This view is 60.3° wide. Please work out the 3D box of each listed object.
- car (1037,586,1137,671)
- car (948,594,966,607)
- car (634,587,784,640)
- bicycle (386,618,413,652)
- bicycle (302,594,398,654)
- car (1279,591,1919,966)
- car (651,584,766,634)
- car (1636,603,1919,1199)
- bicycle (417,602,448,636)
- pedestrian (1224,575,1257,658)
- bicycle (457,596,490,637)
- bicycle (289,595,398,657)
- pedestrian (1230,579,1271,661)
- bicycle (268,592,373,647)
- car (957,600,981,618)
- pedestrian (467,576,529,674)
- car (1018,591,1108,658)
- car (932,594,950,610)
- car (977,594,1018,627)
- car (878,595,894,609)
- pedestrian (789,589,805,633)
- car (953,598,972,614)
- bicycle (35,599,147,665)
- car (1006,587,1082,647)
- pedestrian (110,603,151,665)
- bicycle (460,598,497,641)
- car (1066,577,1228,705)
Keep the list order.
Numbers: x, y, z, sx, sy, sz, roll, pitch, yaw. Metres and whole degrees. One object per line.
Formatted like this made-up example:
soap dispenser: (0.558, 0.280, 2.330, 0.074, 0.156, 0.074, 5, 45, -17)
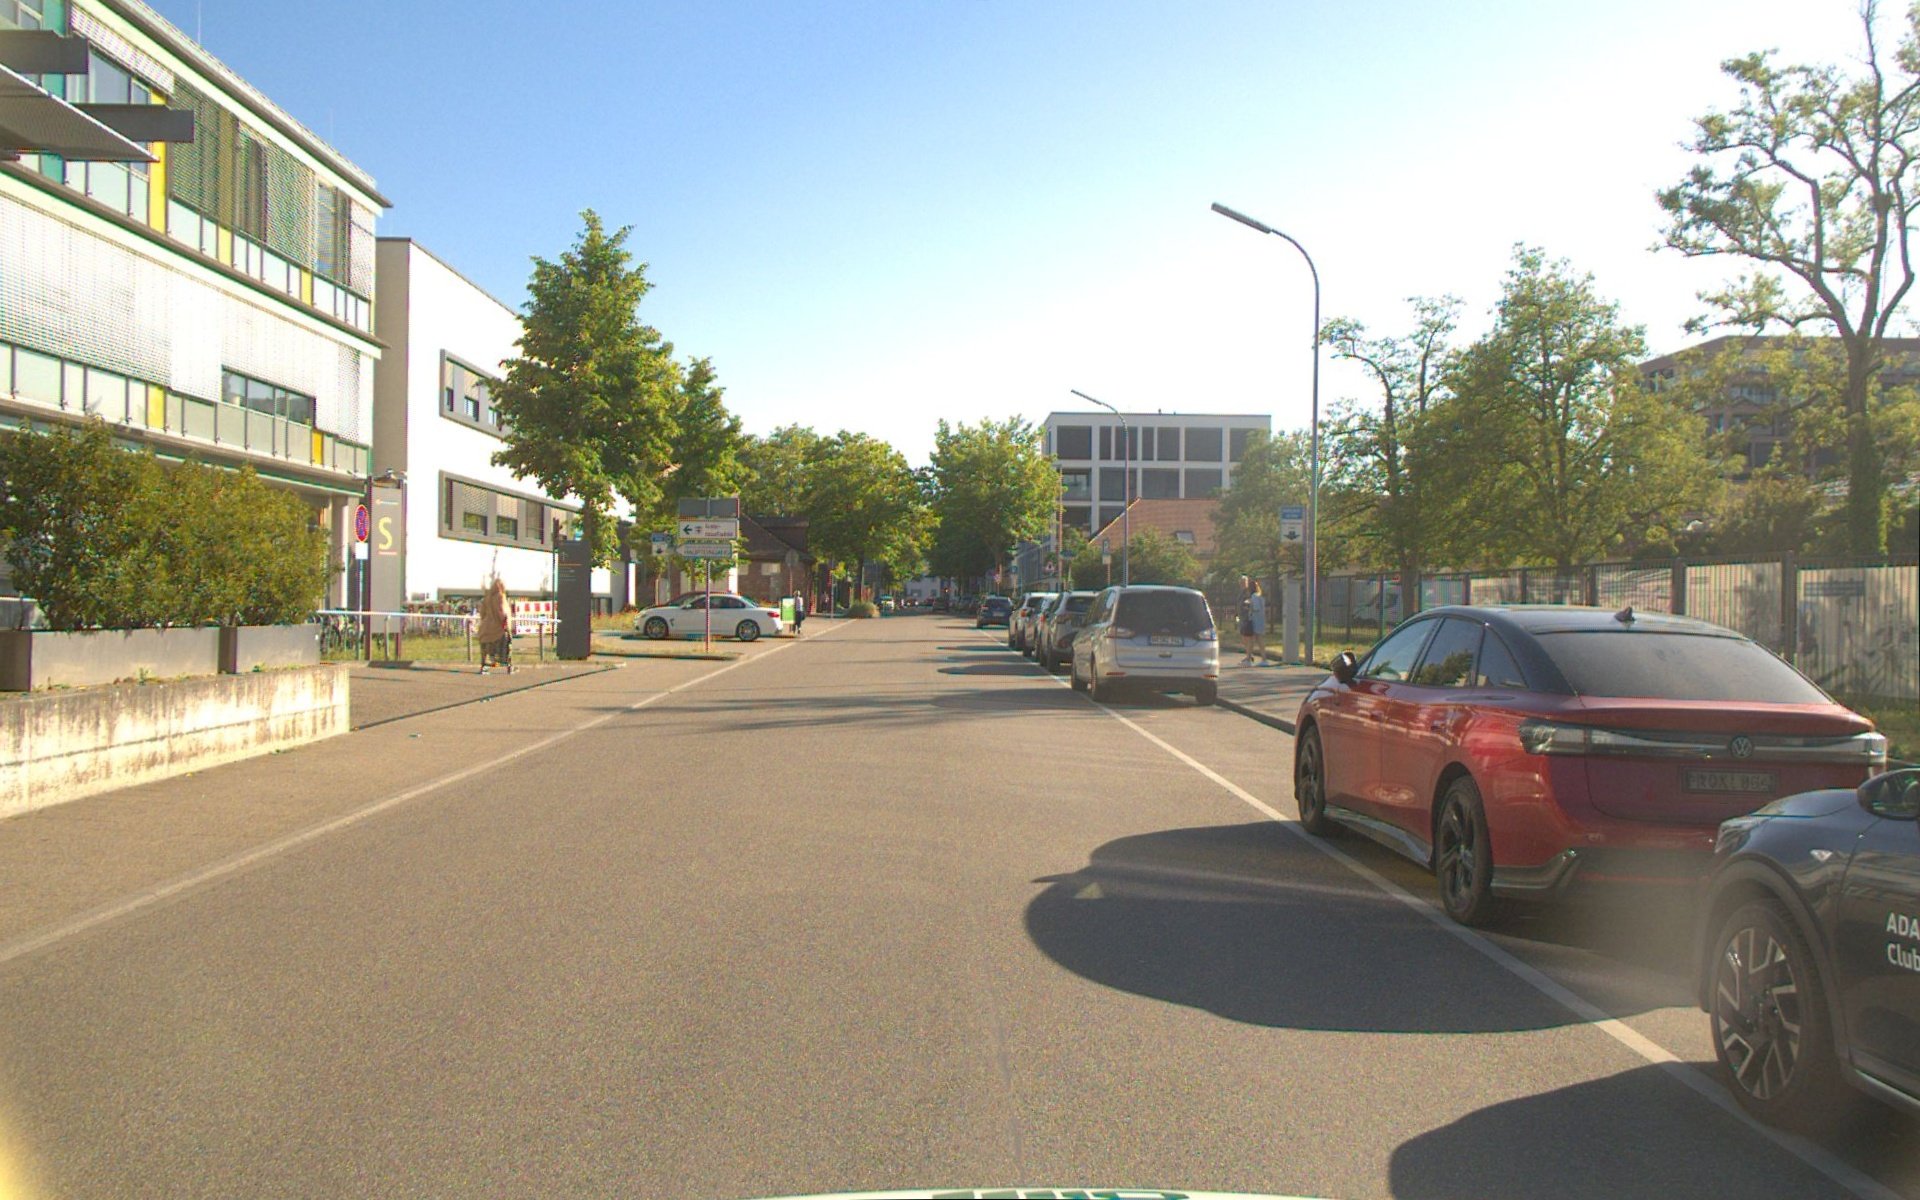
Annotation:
car: (2.621, 0.546, 35.017, 1.666, 1.634, 4.352, 2, 0, -1)
car: (-0.393, 0.059, 182.416, 1.953, 1.491, 3.836, 1, 0, -1)
car: (-7.673, 0.401, 50.819, 4.425, 1.391, 1.697, 3, 0, -7)
bicycle: (-15.196, 0.938, 44.837, 0.249, 0.888, 1.450, 0, 0, 0)
bicycle: (-11.845, 0.456, 32.122, 1.667, 1.141, 0.536, 0, 0, 4)
car: (3.254, 0.749, 9.372, 1.773, 1.536, 4.720, 2, 0, -2)
car: (-8.149, 0.286, 53.770, 3.564, 1.494, 1.612, 2, 1, -6)
car: (3.282, 0.810, 3.673, 1.666, 1.513, 4.213, 2, 0, -2)
bicycle: (-14.090, 0.509, 44.220, 0.361, 0.878, 1.450, 0, 0, 0)
pedestrian: (5.977, 0.359, 35.252, 0.511, 1.738, 0.522, 2, -1, -4)
bicycle: (-13.709, 0.450, 46.622, 0.411, 1.143, 1.763, 0, 0, 0)
bicycle: (-10.712, 0.451, 28.780, 1.681, 1.074, 0.536, 0, 0, -3)
pedestrian: (5.946, 0.405, 33.872, 0.667, 1.640, 0.540, 2, -1, -4)
bicycle: (-11.548, 0.353, 29.896, 1.681, 0.991, 0.536, 0, 0, -3)
car: (0.730, 0.716, 137.217, 1.731, 1.465, 3.998, 0, 0, -3)
pedestrian: (-7.677, 0.412, 27.483, 0.757, 1.576, 0.780, 2, -1, -1)
car: (2.502, 0.557, 40.875, 1.667, 1.513, 3.977, 2, 0, -4)
car: (-1.893, 0.237, 165.121, 1.731, 1.575, 4.064, 0, 0, -3)
car: (1.705, 0.475, 76.373, 1.780, 1.478, 4.214, 0, 0, 0)
car: (-7.917, 0.203, 177.311, 1.731, 1.513, 3.998, 0, 0, -3)
pedestrian: (-5.851, 0.390, 59.382, 0.527, 1.550, 0.607, 0, 0, 0)
car: (0.240, 0.587, 166.293, 1.910, 1.606, 3.836, 1, 0, -1)
bicycle: (-15.428, 0.564, 29.389, 1.680, 1.143, 0.536, 0, 0, -3)
car: (2.415, 0.462, 48.589, 1.777, 1.616, 4.259, 2, 0, -3)
pedestrian: (-16.237, 0.656, 32.376, 0.520, 1.193, 0.556, 1, 0, 0)
bicycle: (-13.010, 0.514, 44.716, 0.524, 1.131, 1.860, 0, 0, -2)
car: (2.797, 0.570, 25.758, 1.773, 1.752, 4.702, 2, 0, -2)
